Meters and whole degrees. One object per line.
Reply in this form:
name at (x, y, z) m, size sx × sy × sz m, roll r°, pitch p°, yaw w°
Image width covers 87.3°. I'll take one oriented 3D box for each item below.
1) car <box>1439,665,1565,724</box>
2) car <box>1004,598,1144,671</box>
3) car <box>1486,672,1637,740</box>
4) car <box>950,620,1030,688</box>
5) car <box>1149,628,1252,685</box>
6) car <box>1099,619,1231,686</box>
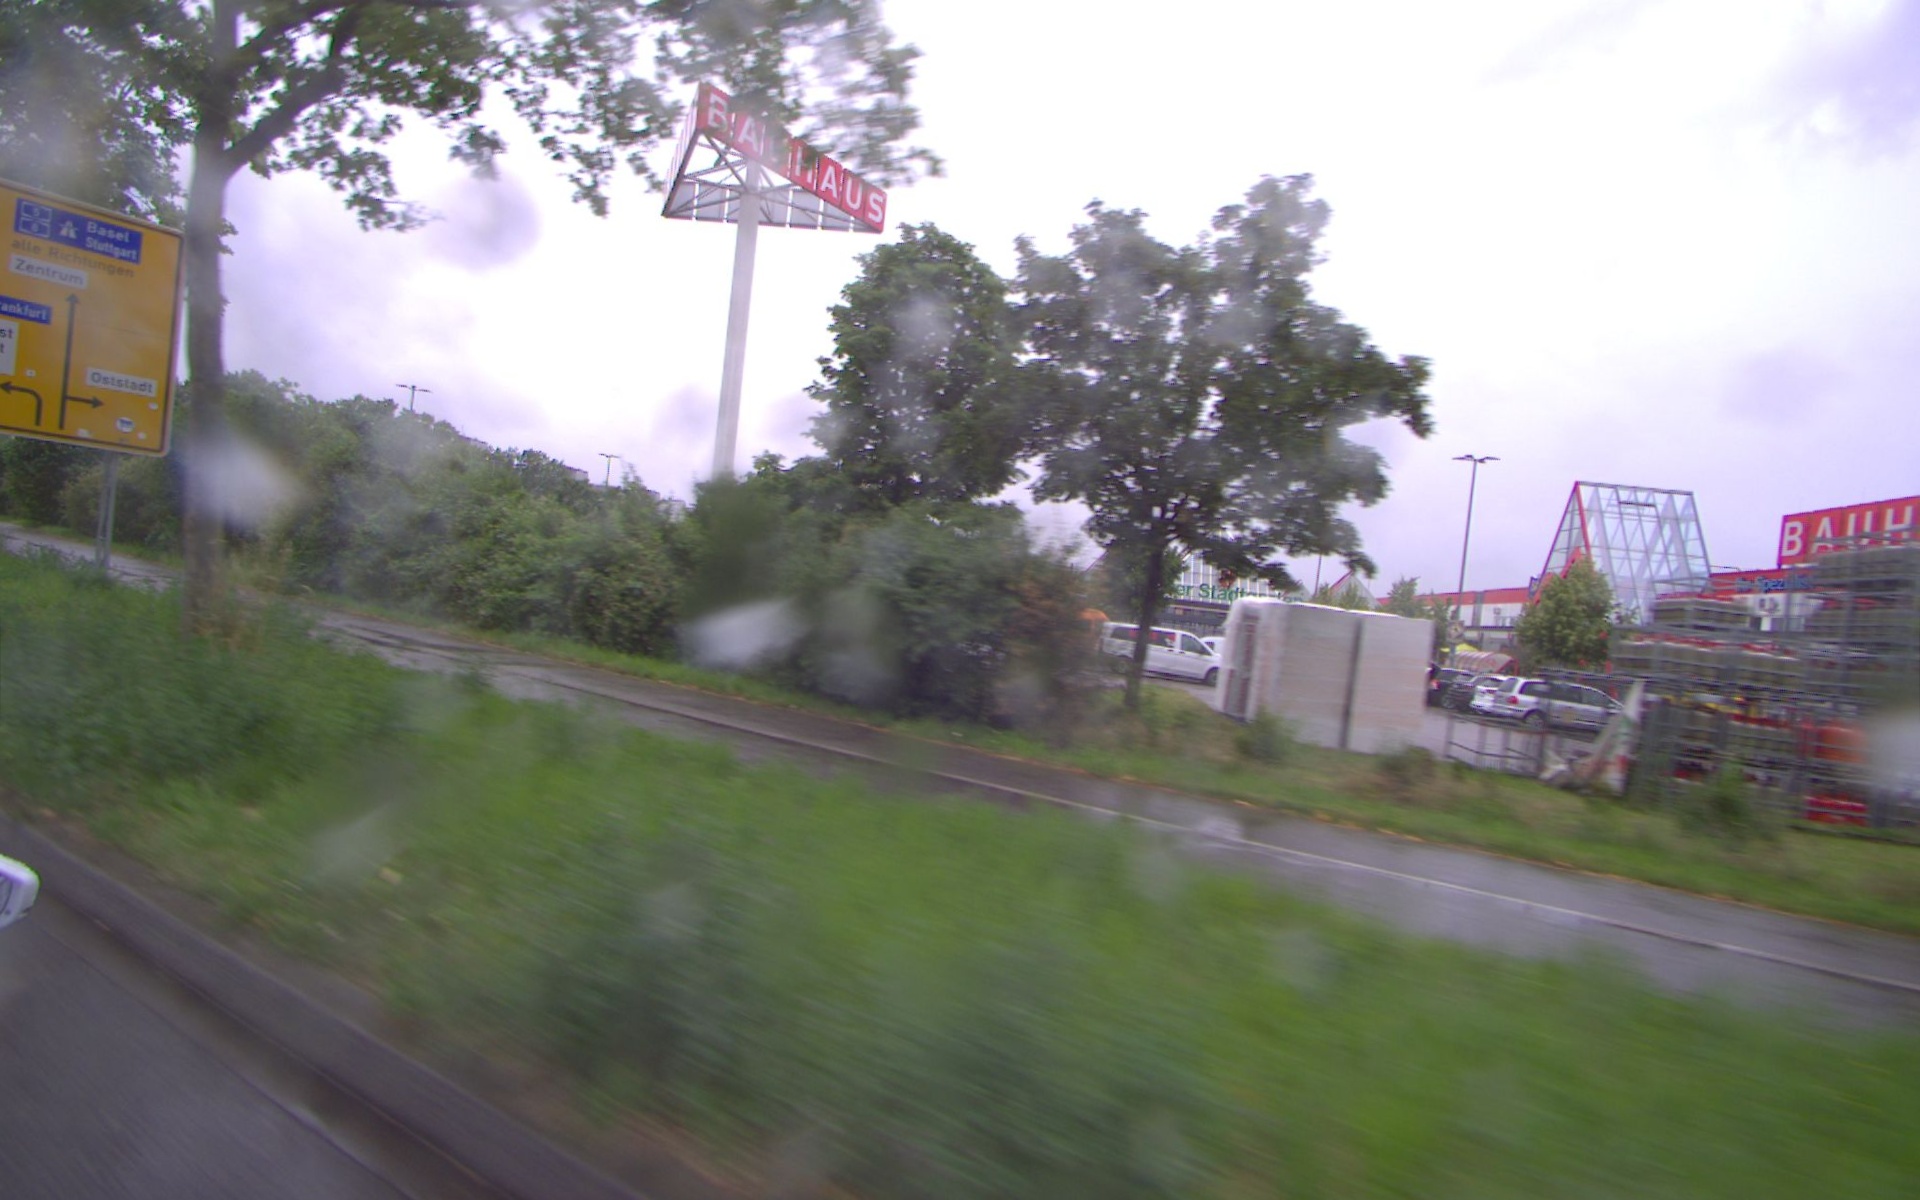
car at (20.673, 3.575, 38.506) m, size 3.773 × 1.654 × 1.756 m, roll 7°, pitch 0°, yaw 13°
car at (4.788, 1.451, 42.910) m, size 5.572 × 2.396 × 2.280 m, roll 7°, pitch 0°, yaw 3°
car at (19.765, 3.462, 33.243) m, size 3.773 × 1.654 × 1.756 m, roll 7°, pitch 0°, yaw 13°
car at (0.914, 1.449, 28.025) m, size 1.721 × 1.537 × 4.298 m, roll 7°, pitch -1°, yaw 7°
car at (9.523, 2.222, 40.006) m, size 3.552 × 1.766 × 1.755 m, roll 7°, pitch 0°, yaw 1°
car at (7.535, 1.915, 37.268) m, size 4.428 × 1.893 × 1.826 m, roll 7°, pitch 0°, yaw 5°
